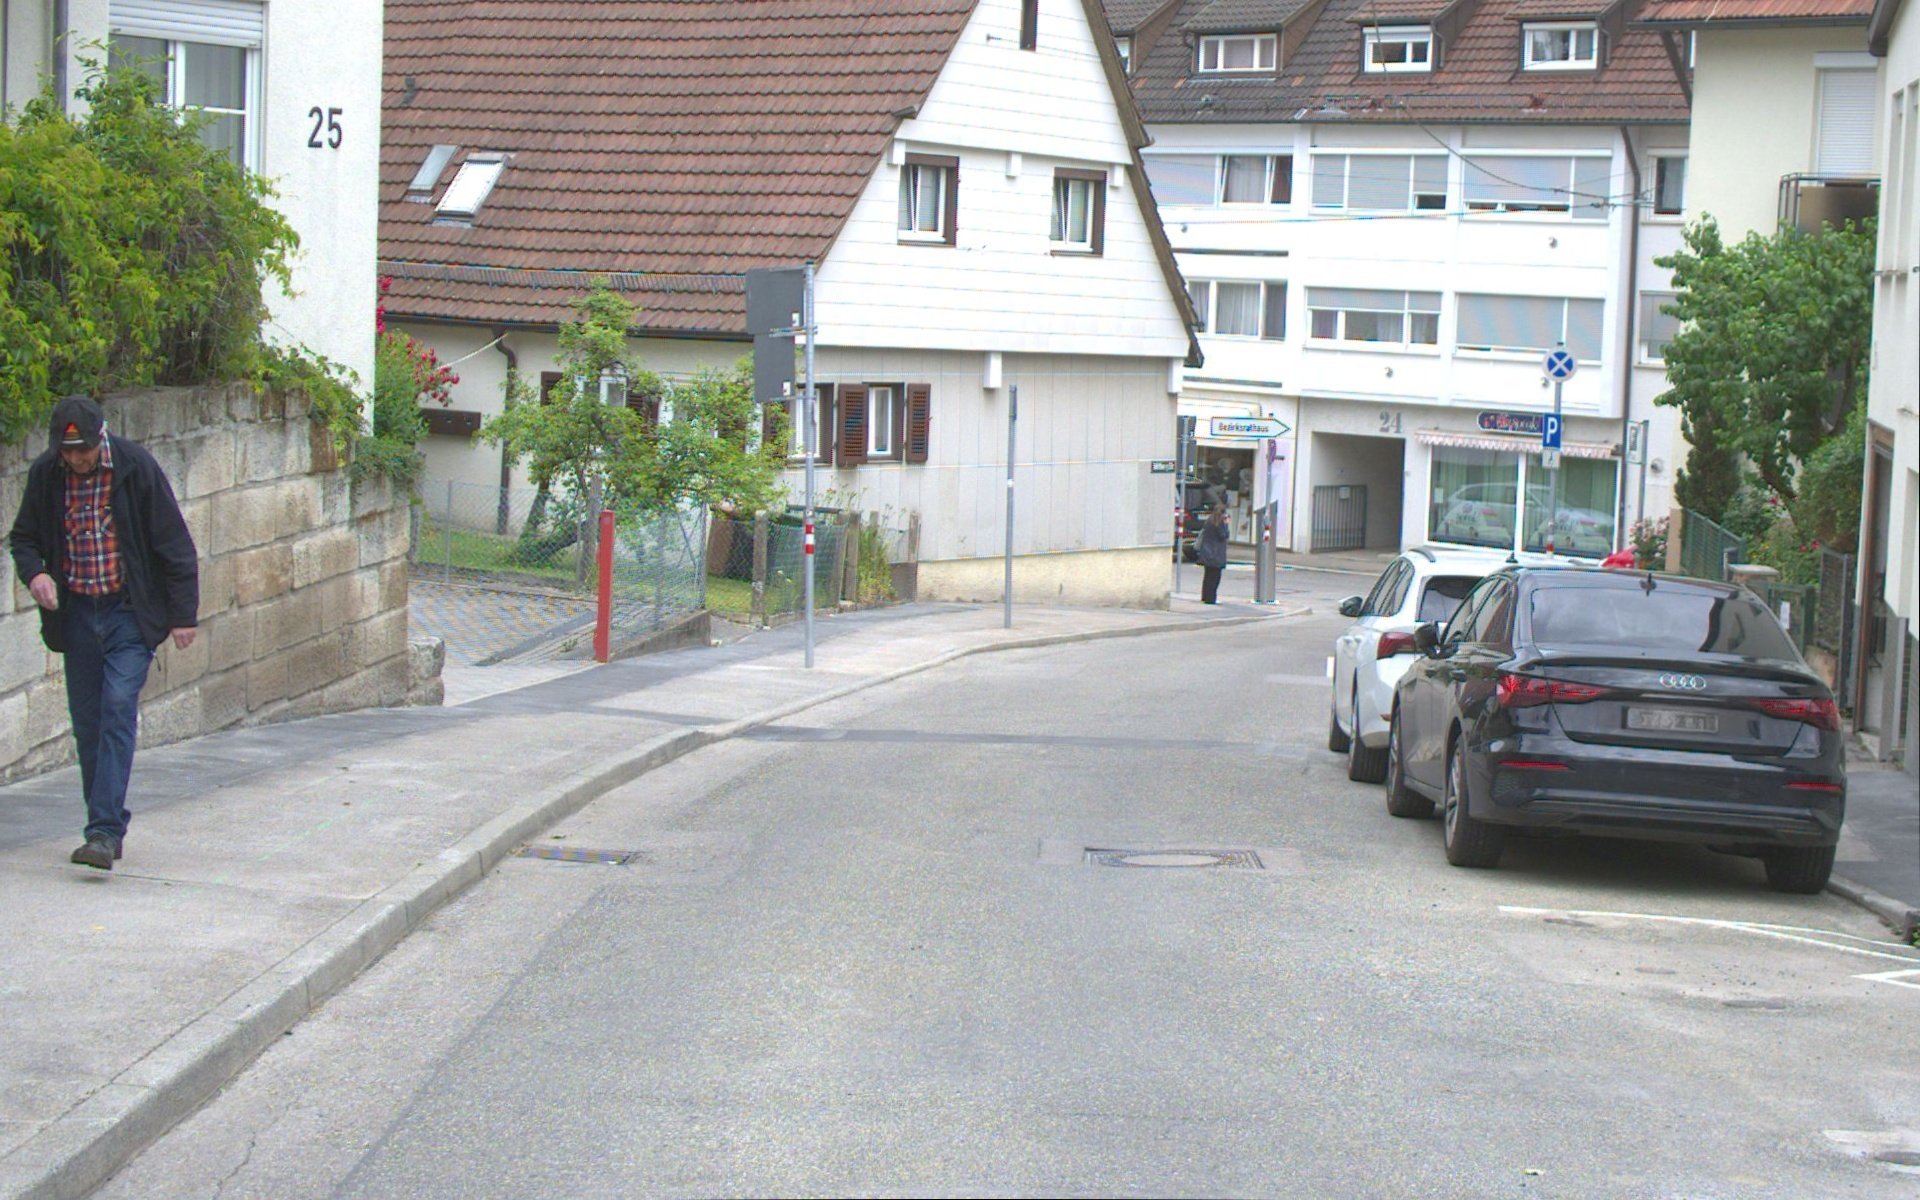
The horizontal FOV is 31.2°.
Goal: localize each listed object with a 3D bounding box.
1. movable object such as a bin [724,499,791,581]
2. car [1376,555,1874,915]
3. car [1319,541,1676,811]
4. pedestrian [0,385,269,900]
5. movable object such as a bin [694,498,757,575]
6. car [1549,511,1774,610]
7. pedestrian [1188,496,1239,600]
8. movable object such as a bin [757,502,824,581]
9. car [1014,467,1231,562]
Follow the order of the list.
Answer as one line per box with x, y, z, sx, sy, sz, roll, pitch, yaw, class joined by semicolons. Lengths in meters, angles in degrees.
-2.468;-0.732;41.873;0.528;0.914;0.489;8;2;35;movable object such as a bin
3.143;0.562;17.020;1.674;1.403;4.051;5;1;1;car
3.371;0.408;22.292;1.795;1.440;4.297;4;1;4;car
-2.998;0.128;12.019;0.840;1.672;0.977;5;1;0;pedestrian
-2.884;-0.784;42.234;0.495;0.875;0.452;8;2;36;movable object such as a bin
12.918;-0.734;63.423;1.692;1.551;3.694;0;4;-43;car
4.208;-0.866;57.067;0.646;1.679;0.604;3;3;-8;pedestrian
-2.048;-0.707;41.569;0.528;0.881;0.489;8;2;35;movable object such as a bin
3.395;-1.815;72.515;1.942;1.773;4.367;-1;4;-44;car
